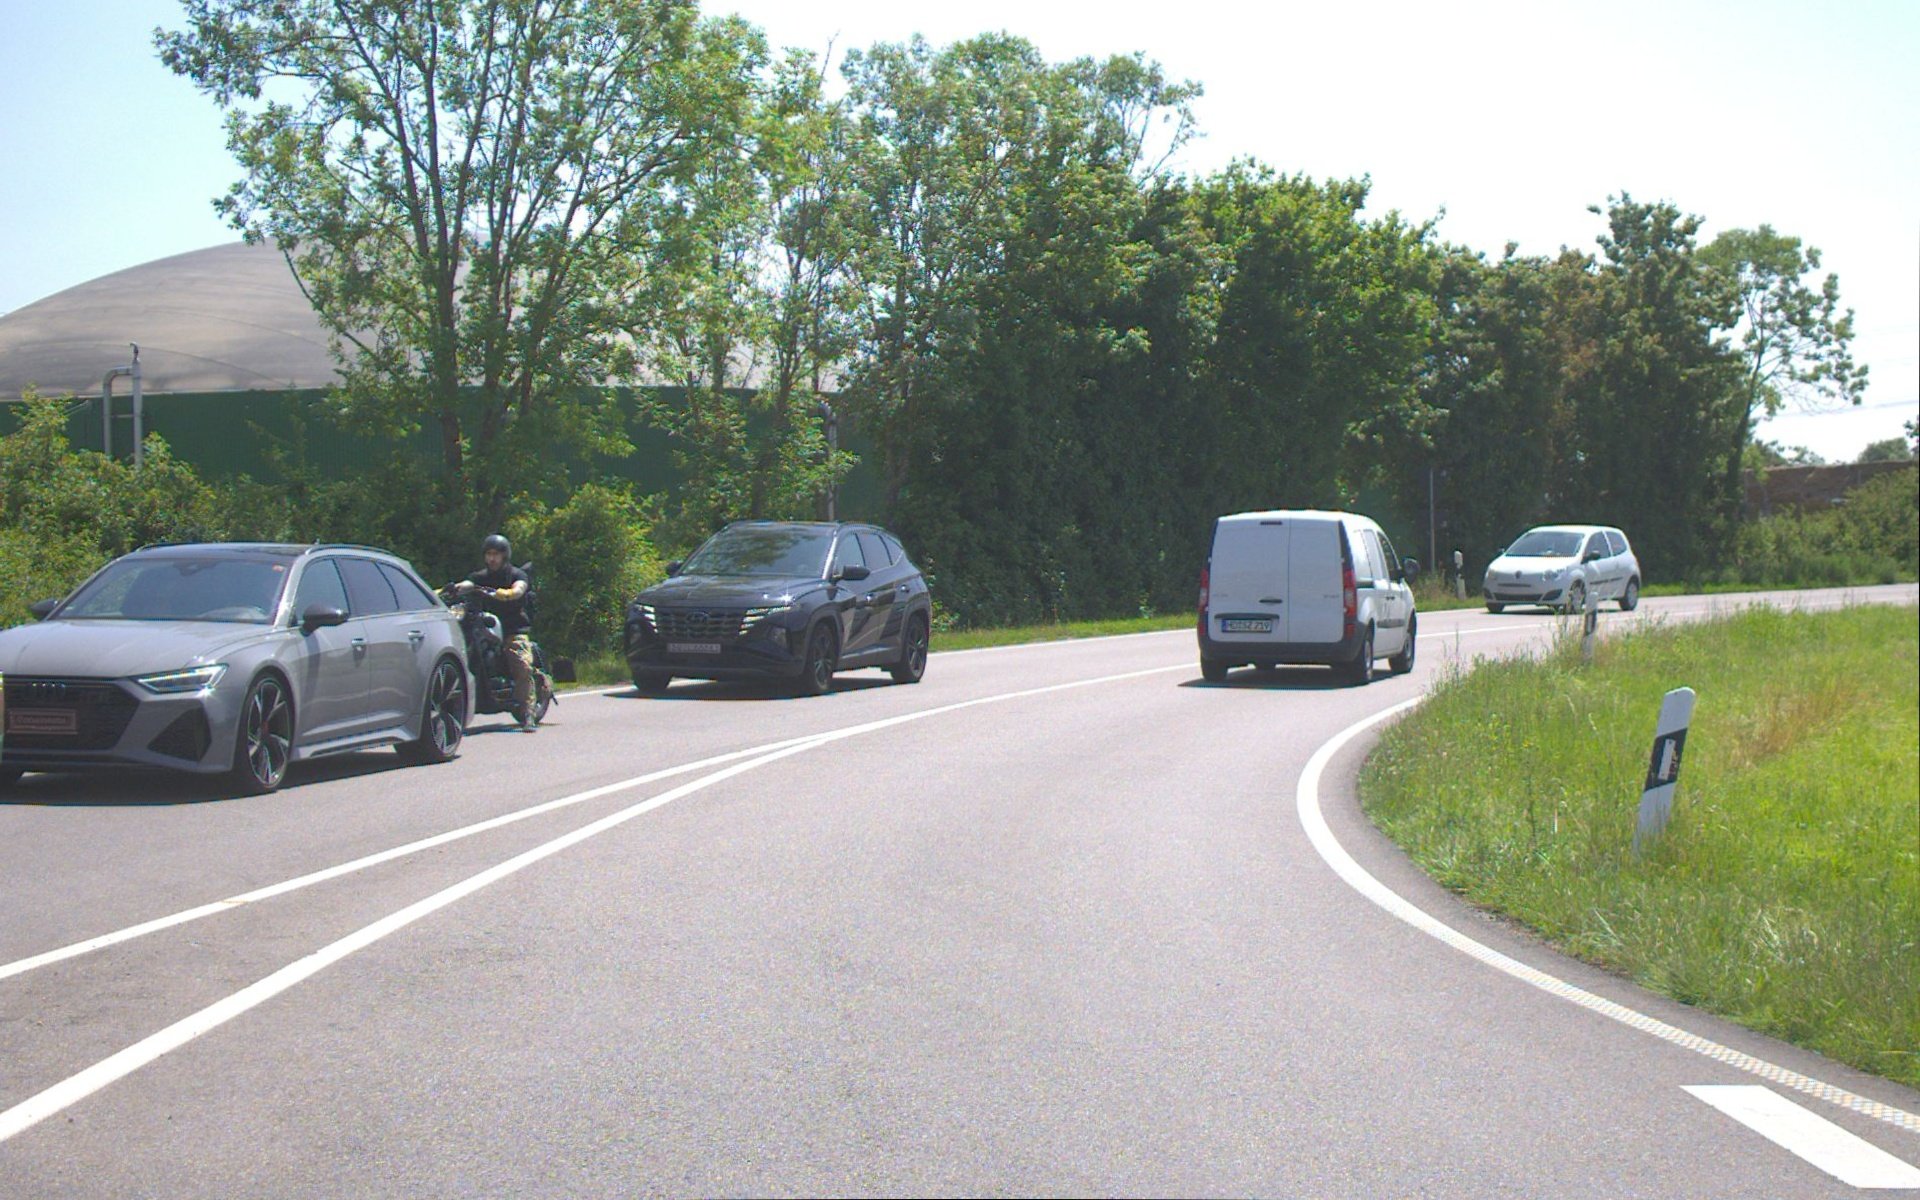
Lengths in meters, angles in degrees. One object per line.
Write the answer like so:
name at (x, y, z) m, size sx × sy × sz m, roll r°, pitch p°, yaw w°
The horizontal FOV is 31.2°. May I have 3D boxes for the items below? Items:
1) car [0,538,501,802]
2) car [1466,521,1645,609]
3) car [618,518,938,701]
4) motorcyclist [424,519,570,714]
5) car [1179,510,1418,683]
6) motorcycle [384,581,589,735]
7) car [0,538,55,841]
car at (-4.601, 0.370, 21.595) m, size 1.842 × 1.455 × 4.806 m, roll 1°, pitch 0°, yaw 13°
car at (10.280, -0.592, 59.219) m, size 1.540 × 1.438 × 3.600 m, roll 3°, pitch 1°, yaw 37°
car at (-1.691, 0.034, 33.436) m, size 1.703 × 1.632 × 4.246 m, roll 1°, pitch 2°, yaw 18°
motorcyclist at (-3.618, 0.122, 26.912) m, size 0.781 × 1.490 × 1.130 m, roll 0°, pitch 0°, yaw 12°
car at (3.671, -0.044, 36.727) m, size 1.905 × 1.726 × 3.819 m, roll -1°, pitch 0°, yaw 15°
motorcycle at (-3.664, 0.426, 26.830) m, size 0.782 × 1.120 × 2.428 m, roll 1°, pitch 1°, yaw 12°
car at (-6.011, 0.444, 15.703) m, size 1.800 × 1.510 × 4.389 m, roll 1°, pitch 0°, yaw 13°
